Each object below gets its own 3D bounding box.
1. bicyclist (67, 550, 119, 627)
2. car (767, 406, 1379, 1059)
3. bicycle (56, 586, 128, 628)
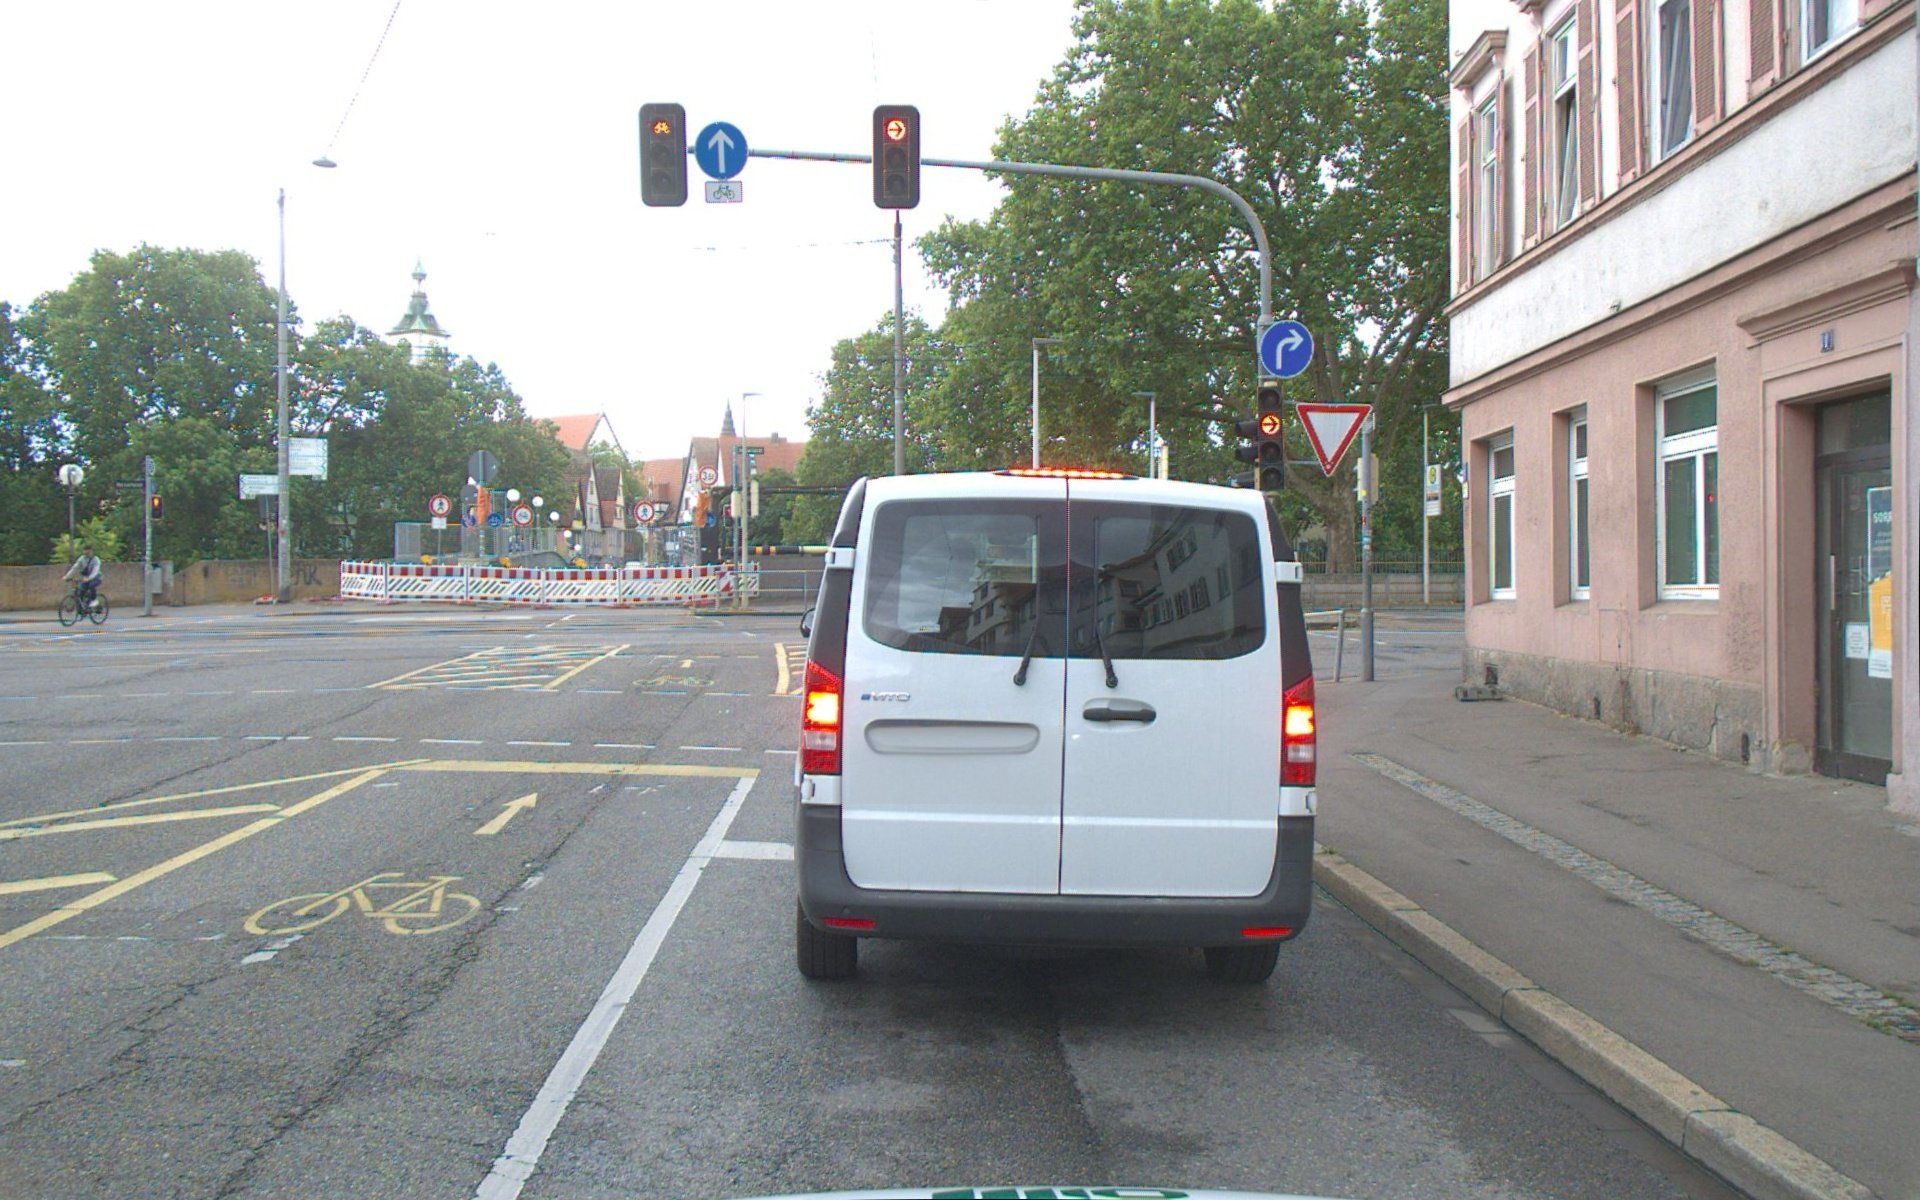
[{"bbox_3d":[-19.740,-0.256,37.667,0.708,1.730,0.811,0,0,4],"label":"bicyclist"},{"bbox_3d":[0.326,0.361,7.598,1.911,2.048,4.698,1,2,-1],"label":"car"},{"bbox_3d":[-19.759,0.146,37.694,0.530,0.908,1.881,0,1,4],"label":"bicycle"}]
